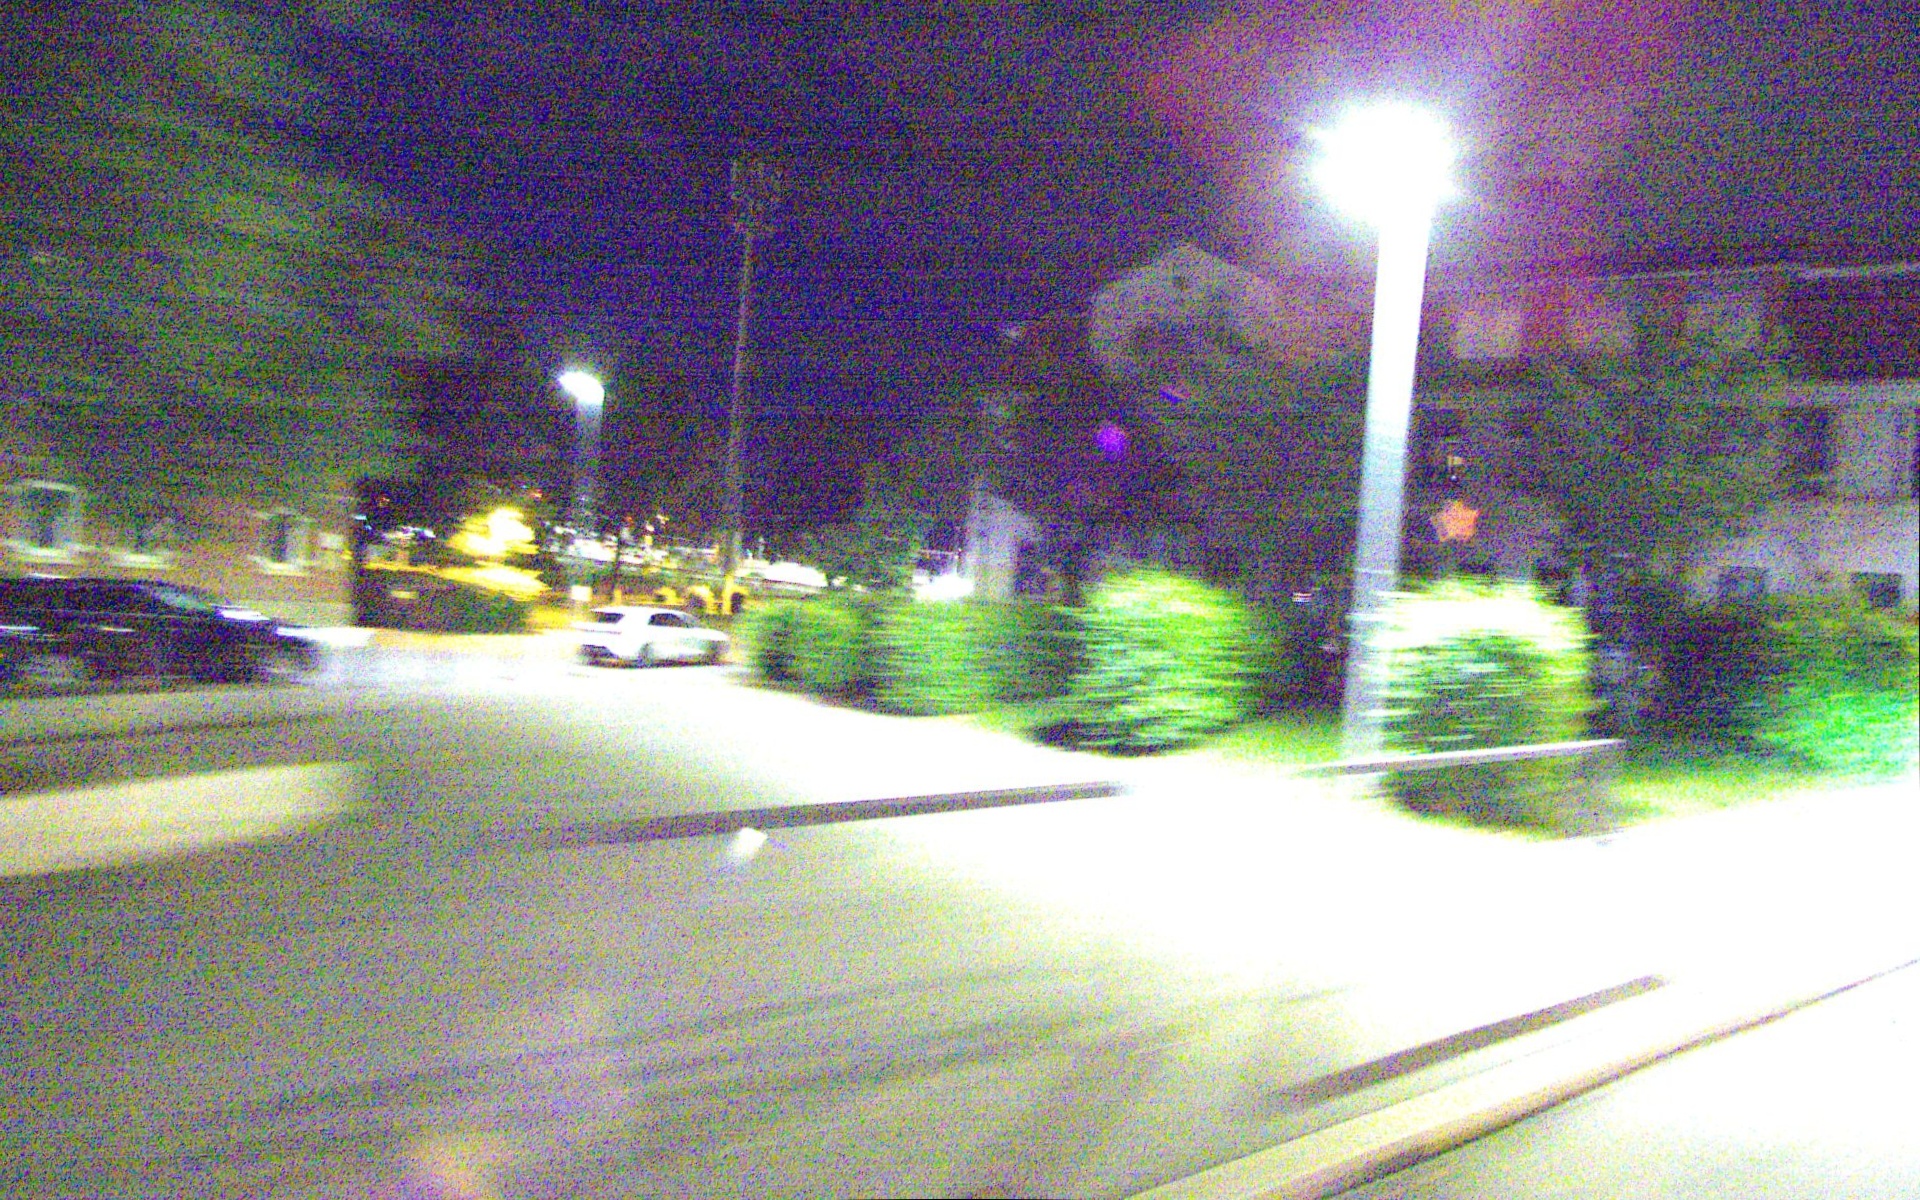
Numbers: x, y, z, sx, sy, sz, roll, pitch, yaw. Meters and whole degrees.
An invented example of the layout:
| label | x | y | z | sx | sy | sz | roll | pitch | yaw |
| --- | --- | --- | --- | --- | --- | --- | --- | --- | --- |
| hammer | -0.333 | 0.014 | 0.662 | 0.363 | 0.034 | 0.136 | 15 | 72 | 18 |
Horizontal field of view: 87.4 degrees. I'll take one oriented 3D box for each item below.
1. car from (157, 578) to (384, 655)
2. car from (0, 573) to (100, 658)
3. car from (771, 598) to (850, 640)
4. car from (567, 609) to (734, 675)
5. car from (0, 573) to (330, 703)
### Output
| label | x | y | z | sx | sy | sz | roll | pitch | yaw |
| --- | --- | --- | --- | --- | --- | --- | --- | --- | --- |
| car | -16.175 | 0.427 | 23.796 | 1.651 | 1.587 | 4.101 | 3 | -1 | 27 |
| car | -18.986 | 0.245 | 18.717 | 1.678 | 1.529 | 4.096 | 4 | 0 | 26 |
| car | -6.931 | 0.893 | 46.824 | 1.612 | 1.783 | 3.960 | 3 | -1 | 26 |
| car | -7.778 | 1.039 | 25.634 | 1.731 | 1.464 | 4.022 | 3 | 0 | 26 |
| car | -12.788 | 0.556 | 15.440 | 2.009 | 1.717 | 4.876 | 1 | -2 | 27 |
